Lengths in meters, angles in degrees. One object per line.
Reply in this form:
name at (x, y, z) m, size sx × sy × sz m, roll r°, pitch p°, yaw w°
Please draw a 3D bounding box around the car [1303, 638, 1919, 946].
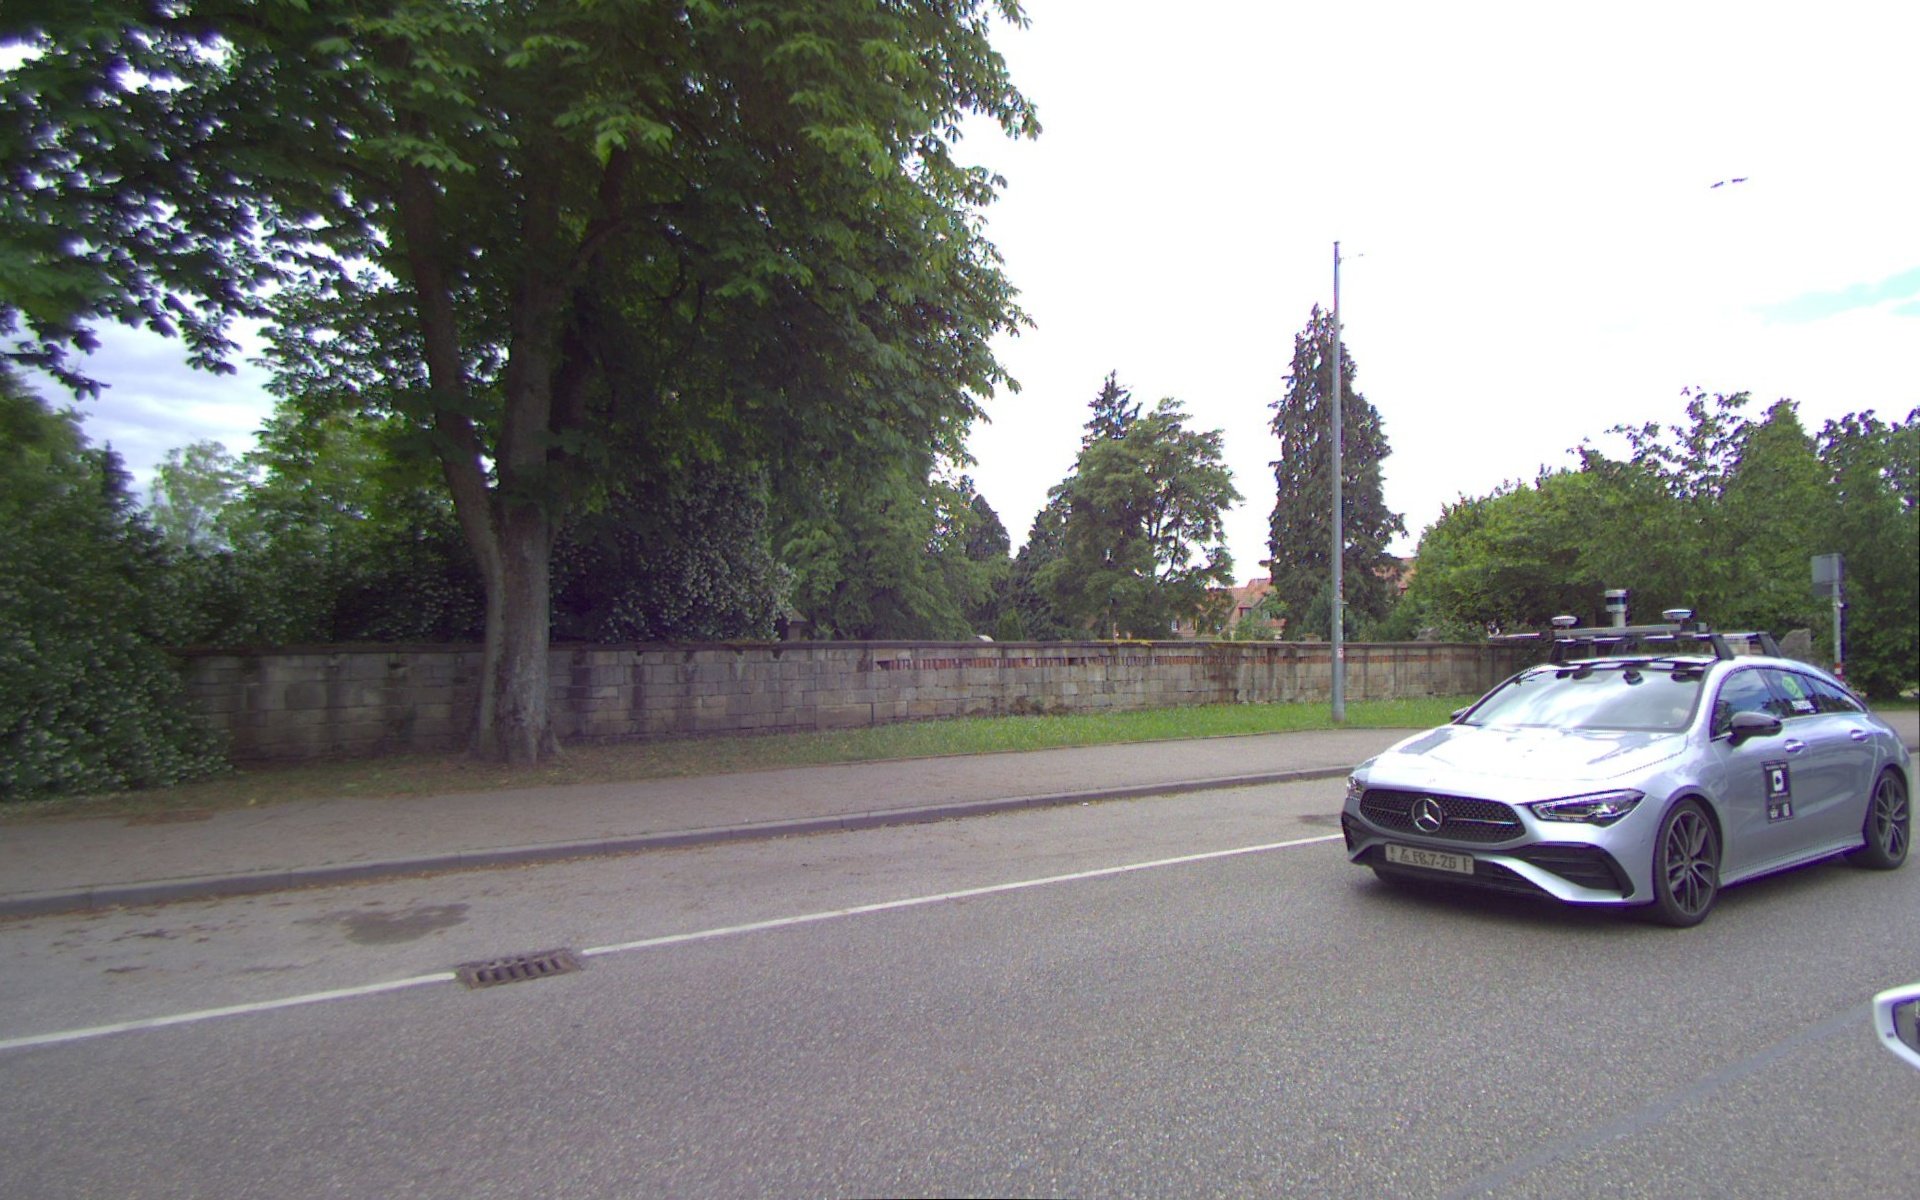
car at (4.451, 1.024, 6.568) m, size 4.363 × 1.421 × 1.749 m, roll 2°, pitch -5°, yaw -30°
